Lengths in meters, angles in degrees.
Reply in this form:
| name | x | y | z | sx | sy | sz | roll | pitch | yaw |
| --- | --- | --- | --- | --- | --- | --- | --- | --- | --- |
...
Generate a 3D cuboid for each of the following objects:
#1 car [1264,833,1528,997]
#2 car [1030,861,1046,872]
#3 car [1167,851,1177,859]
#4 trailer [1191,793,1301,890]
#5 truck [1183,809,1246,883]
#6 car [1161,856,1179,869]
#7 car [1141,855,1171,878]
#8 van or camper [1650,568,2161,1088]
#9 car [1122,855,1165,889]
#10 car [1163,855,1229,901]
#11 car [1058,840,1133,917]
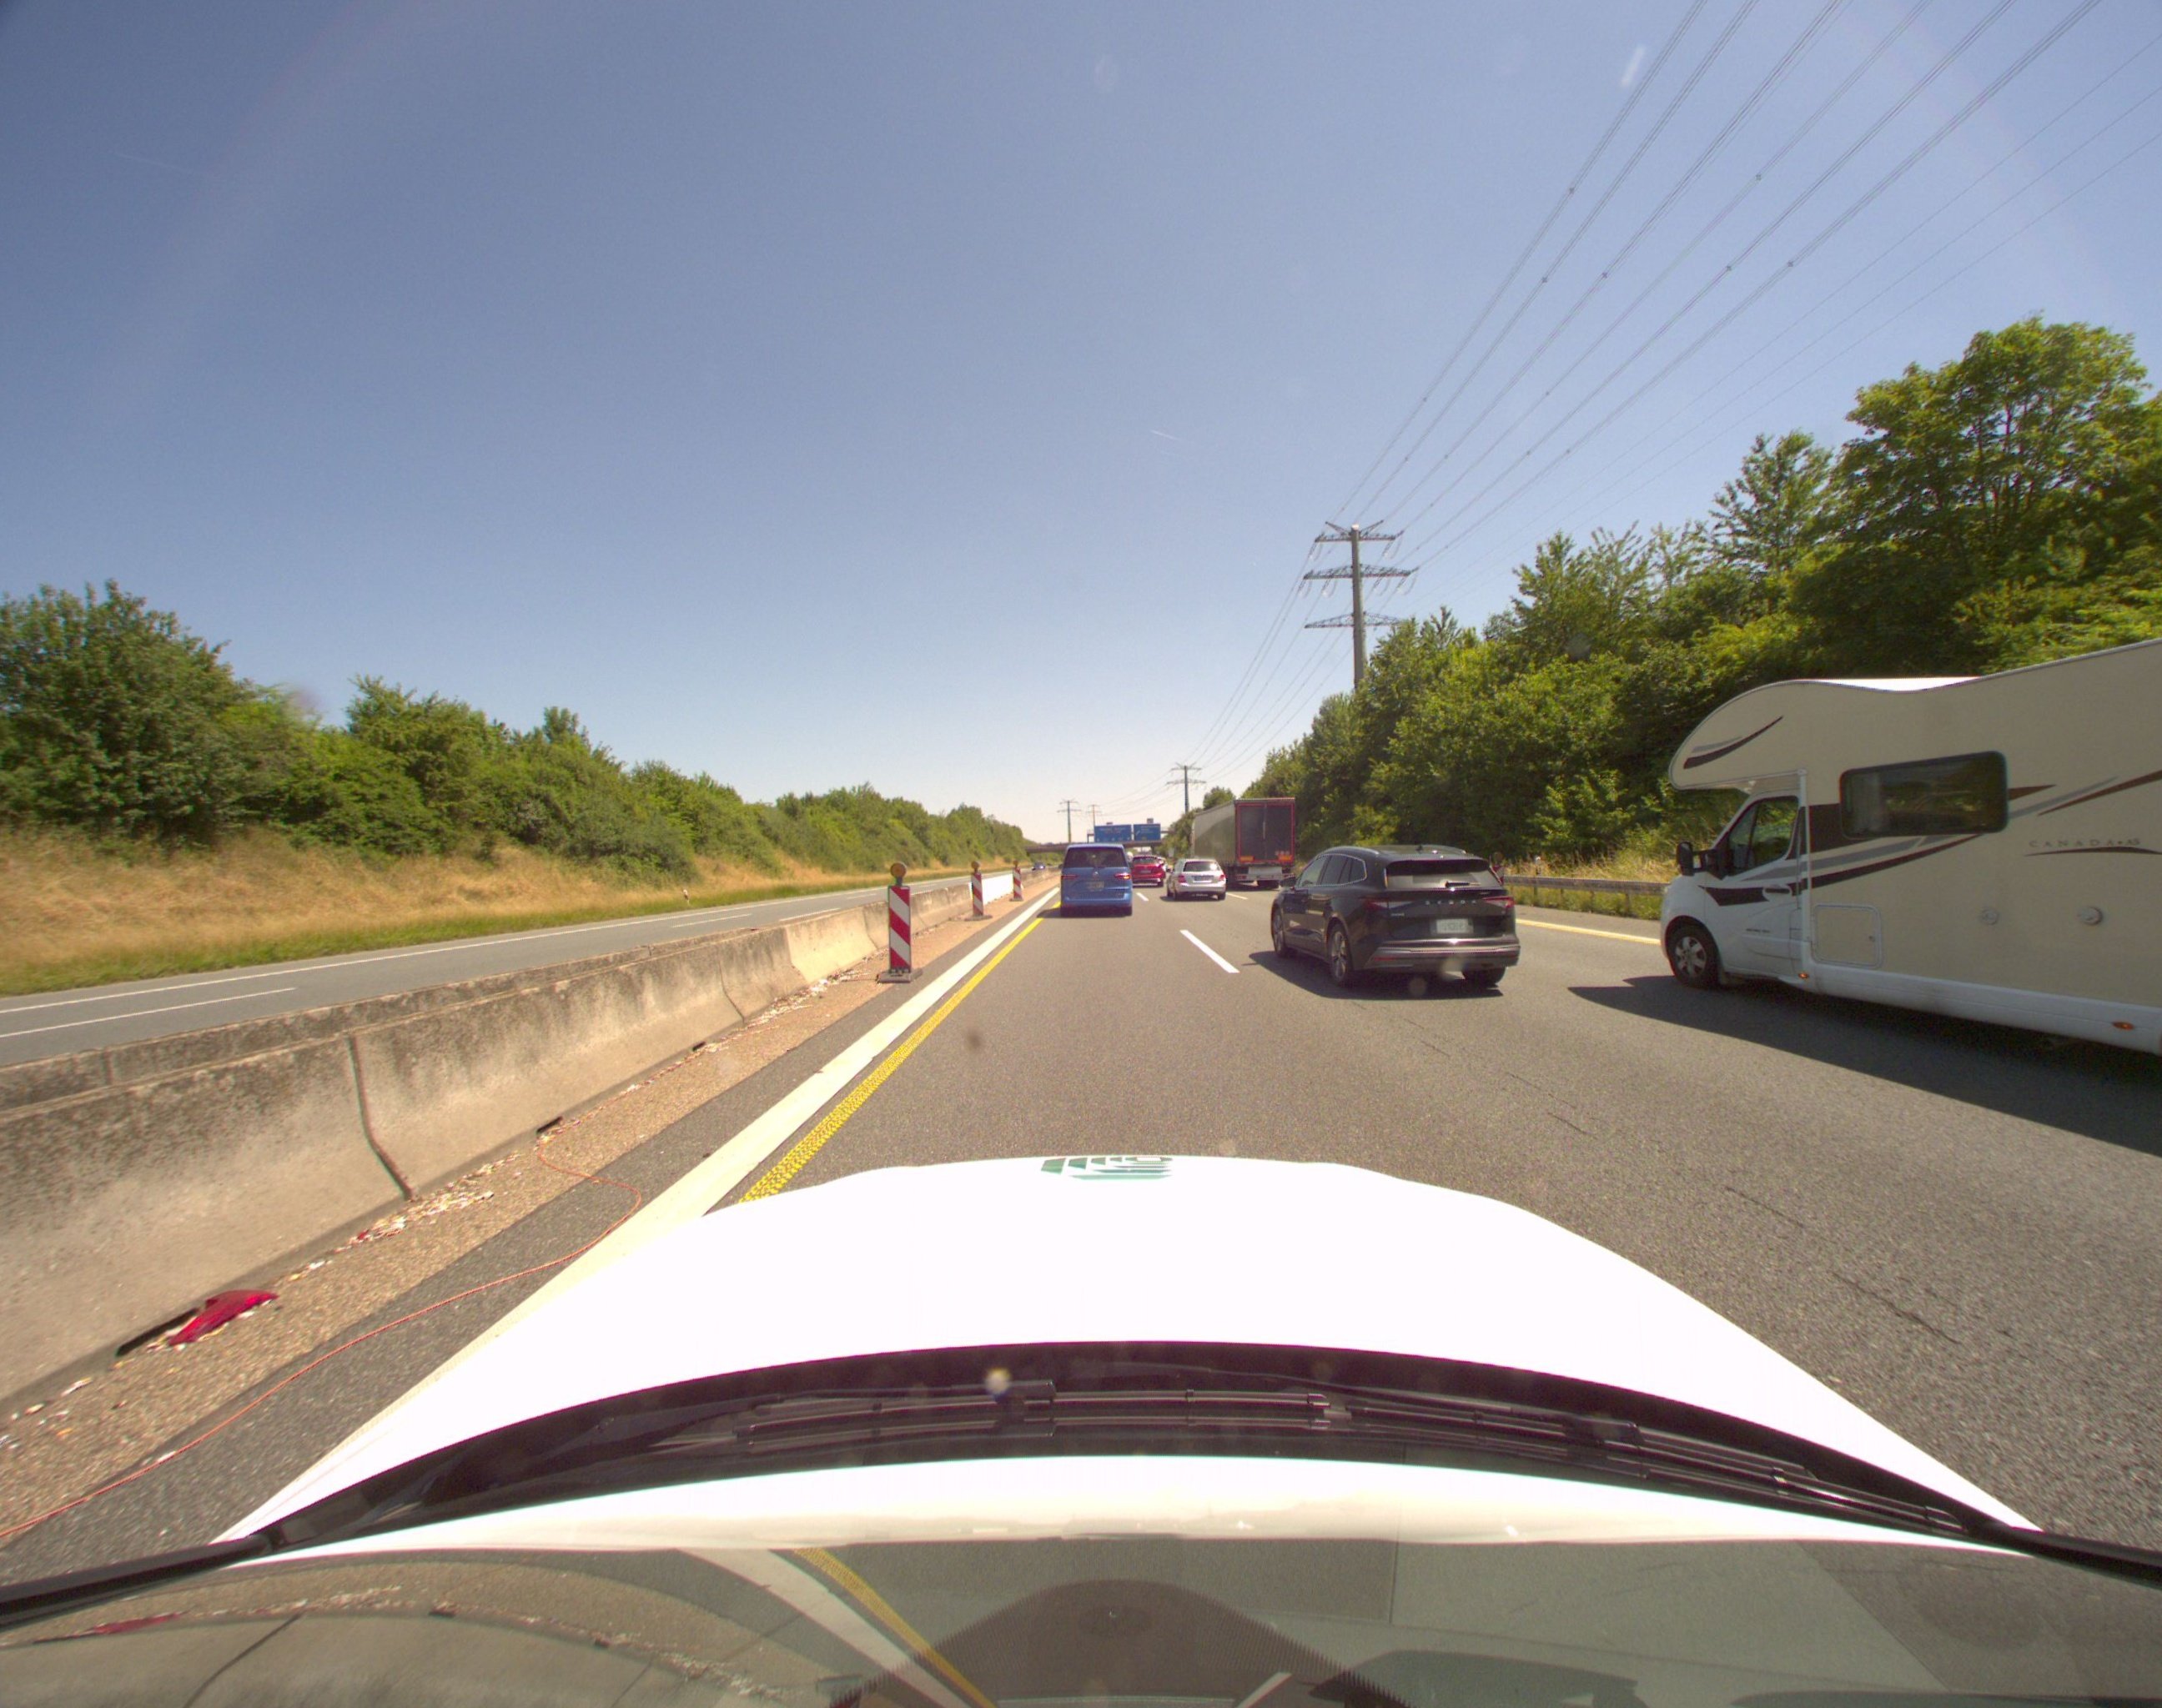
| name | x | y | z | sx | sy | sz | roll | pitch | yaw |
| --- | --- | --- | --- | --- | --- | --- | --- | --- | --- |
| car | 3.693 | 0.642 | 10.481 | 1.695 | 1.655 | 4.429 | 0 | -1 | 0 |
| car | -6.043 | 1.751 | 113.978 | 1.855 | 1.490 | 4.494 | -3 | 0 | 1 |
| car | 21.156 | 0.229 | 190.189 | 1.868 | 1.671 | 4.359 | 0 | -1 | 0 |
| trailer | 7.729 | -0.469 | 40.427 | 2.774 | 4.047 | 13.108 | 0 | -1 | 0 |
| truck | 7.716 | -0.410 | 47.641 | 2.724 | 4.047 | 5.792 | 0 | -1 | 0 |
| car | 10.135 | 0.955 | 92.751 | 1.695 | 1.448 | 3.788 | 0 | -1 | 1 |
| car | 5.320 | 0.863 | 57.919 | 1.791 | 1.594 | 4.227 | 0 | -1 | 1 |
| van or camper | 7.512 | -0.149 | 5.340 | 2.360 | 3.043 | 7.634 | 0 | -1 | 1 |
| car | 3.160 | 0.886 | 41.751 | 1.868 | 1.671 | 4.359 | 0 | -1 | 0 |
| car | 4.038 | 0.810 | 29.142 | 1.765 | 1.517 | 4.359 | 0 | -1 | 0 |
| car | 0.372 | 0.623 | 22.487 | 1.868 | 1.912 | 4.359 | 0 | -1 | 0 |
